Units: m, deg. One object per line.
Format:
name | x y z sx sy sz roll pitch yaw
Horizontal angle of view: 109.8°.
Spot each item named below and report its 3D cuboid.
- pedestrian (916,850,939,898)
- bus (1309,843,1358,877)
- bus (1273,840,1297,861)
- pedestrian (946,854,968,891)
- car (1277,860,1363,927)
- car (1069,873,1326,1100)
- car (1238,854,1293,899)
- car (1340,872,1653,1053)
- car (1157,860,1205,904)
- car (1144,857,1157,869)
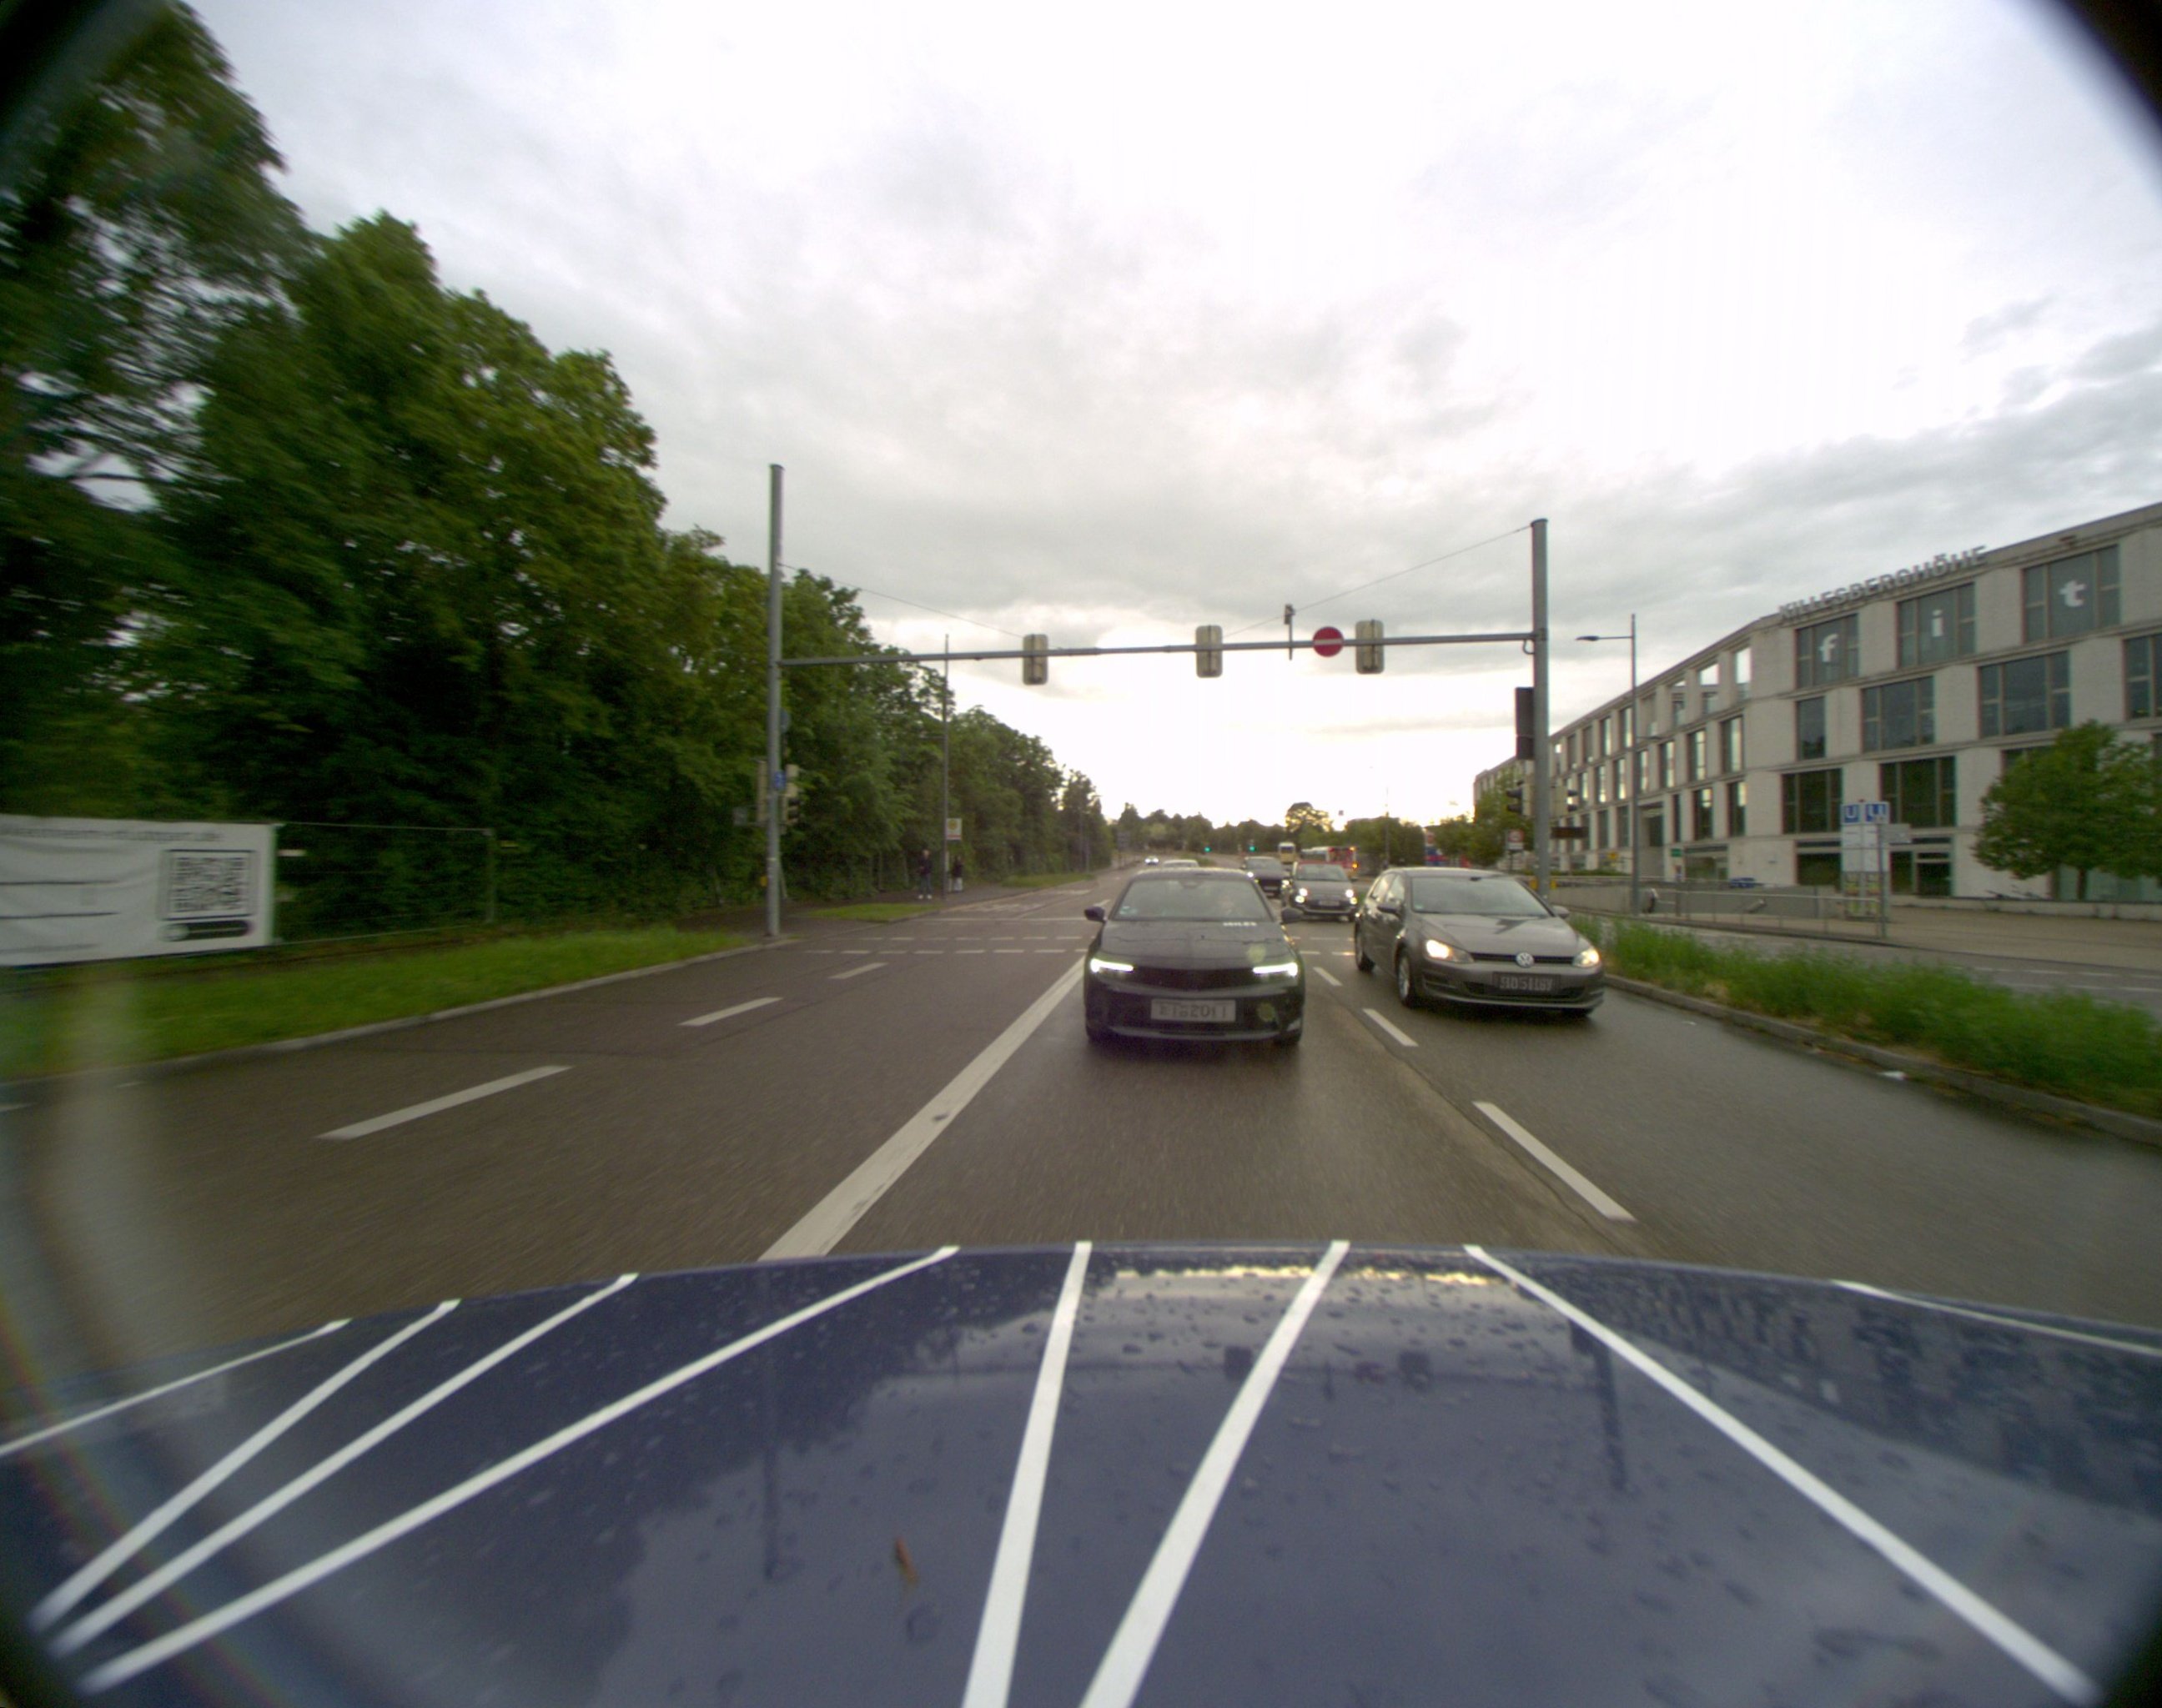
pedestrian | -6.037 0.764 29.888 0.676 1.872 0.700 0 1 9
bus | 24.029 0.530 72.894 2.877 2.971 10.013 0 0 9
bus | 34.951 -0.600 130.370 2.813 3.495 9.148 0 0 9
pedestrian | -5.777 0.846 35.424 0.821 1.666 0.832 0 1 9
car | 6.182 0.949 19.976 1.669 1.521 3.660 1 0 10
car | 1.047 1.010 7.687 1.803 1.422 4.521 -1 1 6
car | 7.700 0.897 32.001 1.904 1.761 4.003 0 0 8
car | 4.349 0.999 8.758 1.903 1.431 4.003 2 0 9
car | 3.758 0.990 28.370 1.644 1.511 3.582 0 0 8
car | 12.124 1.600 132.895 1.998 2.002 4.001 1 0 3
